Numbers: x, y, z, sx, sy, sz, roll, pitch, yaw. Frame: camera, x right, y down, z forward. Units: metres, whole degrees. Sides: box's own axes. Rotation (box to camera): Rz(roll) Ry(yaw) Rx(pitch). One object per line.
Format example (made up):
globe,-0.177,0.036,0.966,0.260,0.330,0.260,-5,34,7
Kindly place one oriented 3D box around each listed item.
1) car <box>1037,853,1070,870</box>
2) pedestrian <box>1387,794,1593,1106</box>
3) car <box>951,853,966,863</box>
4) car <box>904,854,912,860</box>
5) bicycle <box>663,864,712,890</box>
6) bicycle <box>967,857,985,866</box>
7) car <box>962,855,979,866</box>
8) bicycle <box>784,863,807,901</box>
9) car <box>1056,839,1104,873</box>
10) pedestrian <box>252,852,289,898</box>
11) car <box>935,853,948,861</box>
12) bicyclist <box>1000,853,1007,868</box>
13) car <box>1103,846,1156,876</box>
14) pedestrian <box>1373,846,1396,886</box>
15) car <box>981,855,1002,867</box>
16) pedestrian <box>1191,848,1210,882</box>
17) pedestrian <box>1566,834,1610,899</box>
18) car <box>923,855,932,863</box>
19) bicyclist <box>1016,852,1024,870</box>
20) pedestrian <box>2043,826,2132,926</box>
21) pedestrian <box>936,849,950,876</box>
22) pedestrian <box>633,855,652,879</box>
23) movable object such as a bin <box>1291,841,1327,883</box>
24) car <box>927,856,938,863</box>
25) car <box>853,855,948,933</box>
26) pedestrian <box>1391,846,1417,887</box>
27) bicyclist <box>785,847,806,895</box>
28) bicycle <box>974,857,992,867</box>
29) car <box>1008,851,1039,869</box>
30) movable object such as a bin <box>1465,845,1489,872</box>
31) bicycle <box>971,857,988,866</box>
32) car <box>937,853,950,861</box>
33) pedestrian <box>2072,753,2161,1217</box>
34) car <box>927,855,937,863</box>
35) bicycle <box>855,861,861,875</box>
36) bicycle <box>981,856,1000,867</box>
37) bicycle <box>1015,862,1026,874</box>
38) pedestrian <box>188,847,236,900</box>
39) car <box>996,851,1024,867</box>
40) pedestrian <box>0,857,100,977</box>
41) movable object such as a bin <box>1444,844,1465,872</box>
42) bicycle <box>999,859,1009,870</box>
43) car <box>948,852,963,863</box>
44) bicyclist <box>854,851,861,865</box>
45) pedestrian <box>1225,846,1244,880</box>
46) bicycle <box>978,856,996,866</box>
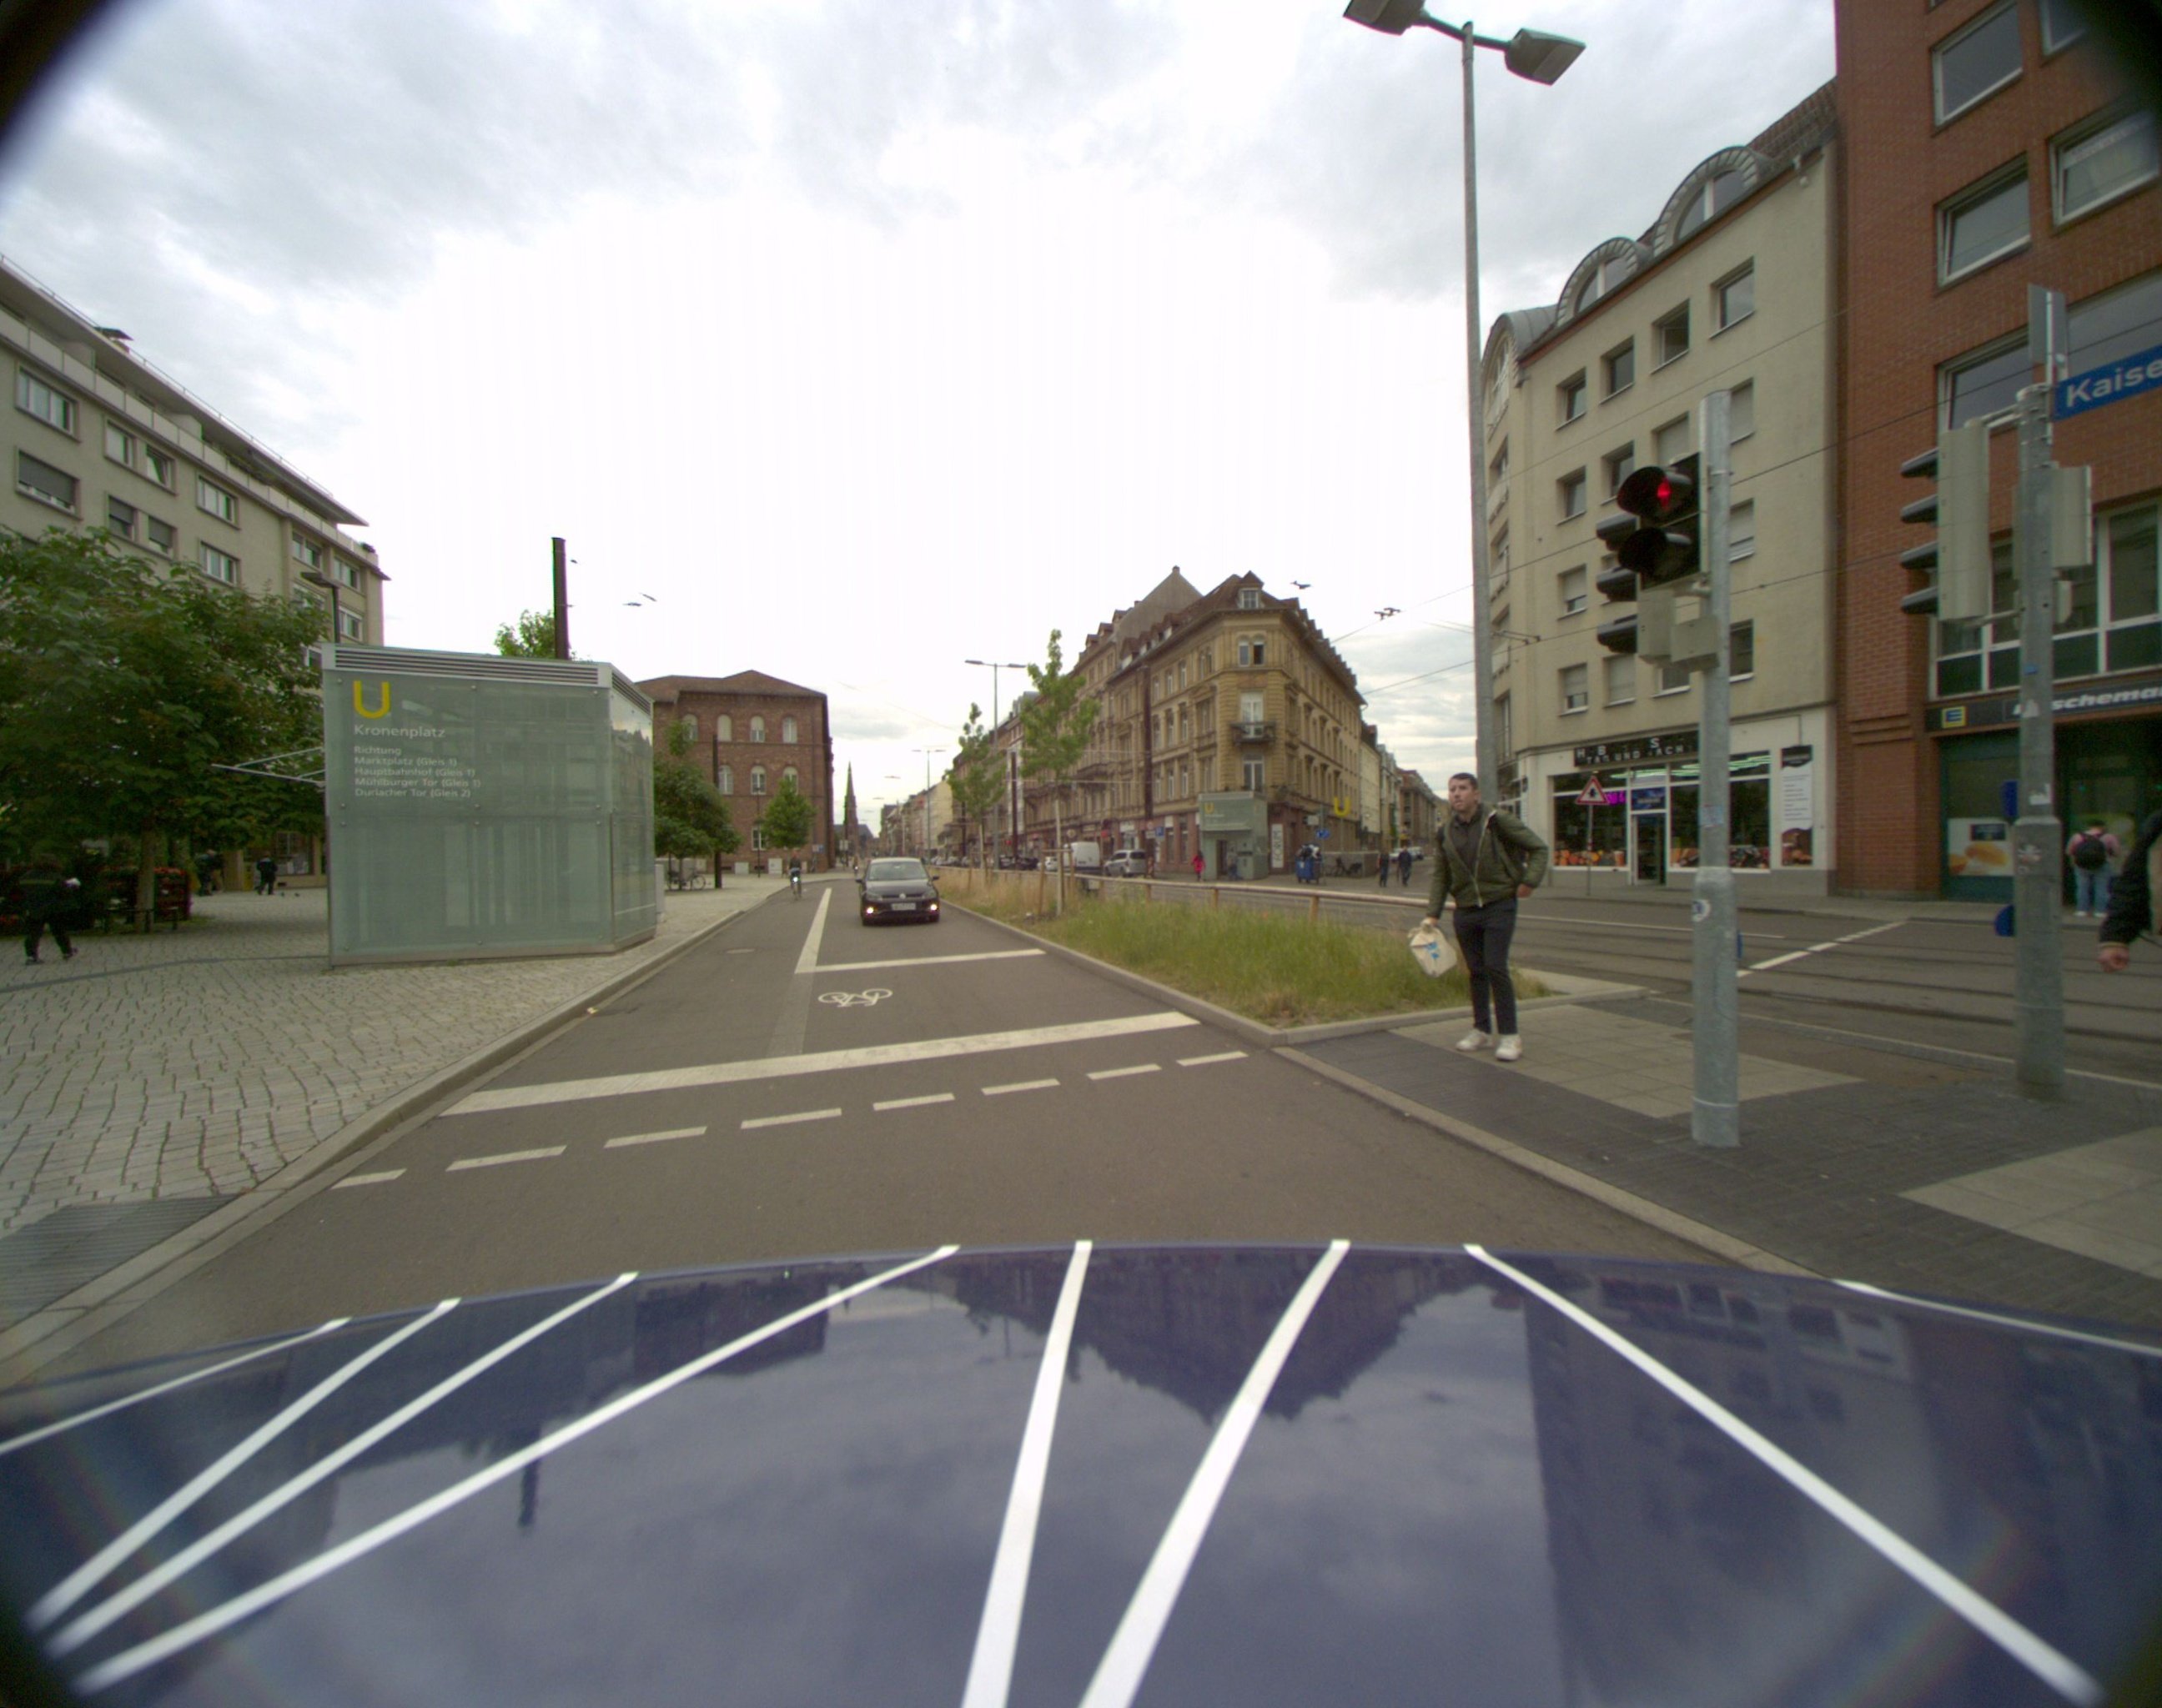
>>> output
car,-2.479,0.657,67.273,1.778,1.414,4.158,1,0,-19
pedestrian,2.727,0.568,5.115,0.900,1.879,0.797,-3,2,-20
car,-19.232,0.656,119.322,1.750,1.479,3.914,0,0,-17
car,-47.772,0.723,210.003,1.870,1.553,3.994,1,0,-17
bicycle,-18.895,1.096,36.523,1.920,1.116,0.644,-2,1,-7
bicycle,-14.507,1.052,105.172,2.291,1.196,0.704,1,0,-17
car,-16.020,0.938,109.774,1.751,1.524,4.219,0,0,-18
bicycle,-10.171,0.985,27.104,0.525,1.253,1.938,-1,1,-15
car,-0.158,0.164,59.814,2.061,2.472,5.656,1,0,-19
pedestrian,-31.305,0.786,29.366,0.774,1.741,0.719,1,0,21
car,-26.098,0.569,142.225,1.831,1.512,4.538,0,-1,-17
bicyclist,-7.360,0.582,72.301,0.481,1.399,0.810,-1,1,-19
car,3.111,0.456,49.738,1.911,1.853,4.513,1,0,-19
pedestrian,12.786,0.495,32.026,0.662,1.677,0.722,0,2,-2
car,-10.850,0.869,92.175,1.751,1.479,3.914,0,0,-18
pedestrian,5.969,0.543,37.932,0.724,1.677,0.660,-1,2,-28
pedestrian,13.382,0.305,20.070,0.663,1.677,0.721,-1,2,-30
car,-34.476,1.128,170.536,1.707,1.662,4.175,-2,1,-16
bicyclist,-5.298,0.578,66.072,0.493,1.531,0.810,-1,1,-19
pedestrian,17.544,0.368,13.256,0.571,1.674,0.797,-3,2,-22
pedestrian,-9.712,0.628,53.581,0.873,1.890,0.772,0,0,-19
pedestrian,-27.149,0.827,47.072,0.766,1.447,0.782,1,0,43
movable object such as a bin,10.872,0.360,36.308,1.034,1.970,1.615,-1,2,-11
car,-30.562,1.193,156.339,1.654,1.372,3.430,0,-1,-21
car,-4.279,0.828,17.601,1.750,1.538,3.644,-2,1,-19
pedestrian,13.599,0.523,32.029,0.662,1.677,0.923,0,2,-2
bicyclist,-10.161,0.590,27.077,0.571,1.674,0.792,-1,1,-14
bicycle,-13.024,1.050,101.408,2.291,1.321,0.665,1,0,-17
car,-5.806,0.578,76.132,1.927,1.679,5.044,1,0,-19
movable object such as a bin,21.418,0.216,41.120,1.008,1.397,1.241,-2,1,24
bicycle,-13.898,1.022,104.004,2.291,1.196,0.704,1,0,-17
car,-24.923,0.509,137.391,1.751,1.456,4.040,0,0,-18
pedestrian,4.712,0.529,2.997,0.613,1.879,0.797,-2,2,-20
car,-31.584,1.013,160.874,1.709,1.746,3.914,0,0,-16
bicycle,-18.992,1.170,64.719,0.473,1.152,2.269,-1,1,-18
bicycle,-11.347,0.981,95.358,2.291,1.321,0.665,1,0,-17
bicycle,-5.290,1.177,66.071,0.478,1.015,1.909,-1,0,-19
pedestrian,-31.722,0.700,27.749,0.774,1.874,0.853,-2,1,21
car,-7.972,0.573,84.717,1.821,1.680,5.023,0,0,-20
pedestrian,-15.130,0.888,11.090,0.628,1.674,0.868,0,1,-21
movable object such as a bin,20.495,0.202,41.689,0.944,1.492,1.241,-2,1,24
bicycle,-7.322,1.018,72.261,0.481,1.015,1.909,-1,0,-19
car,-20.470,0.561,123.888,1.751,1.662,4.040,0,0,-18
bicyclist,-19.043,0.370,64.776,0.588,1.164,0.661,-1,1,-18
pedestrian,7.689,0.461,38.150,0.824,1.677,0.722,0,2,0
bicycle,-12.101,0.894,97.875,2.291,1.321,0.665,1,0,-17
